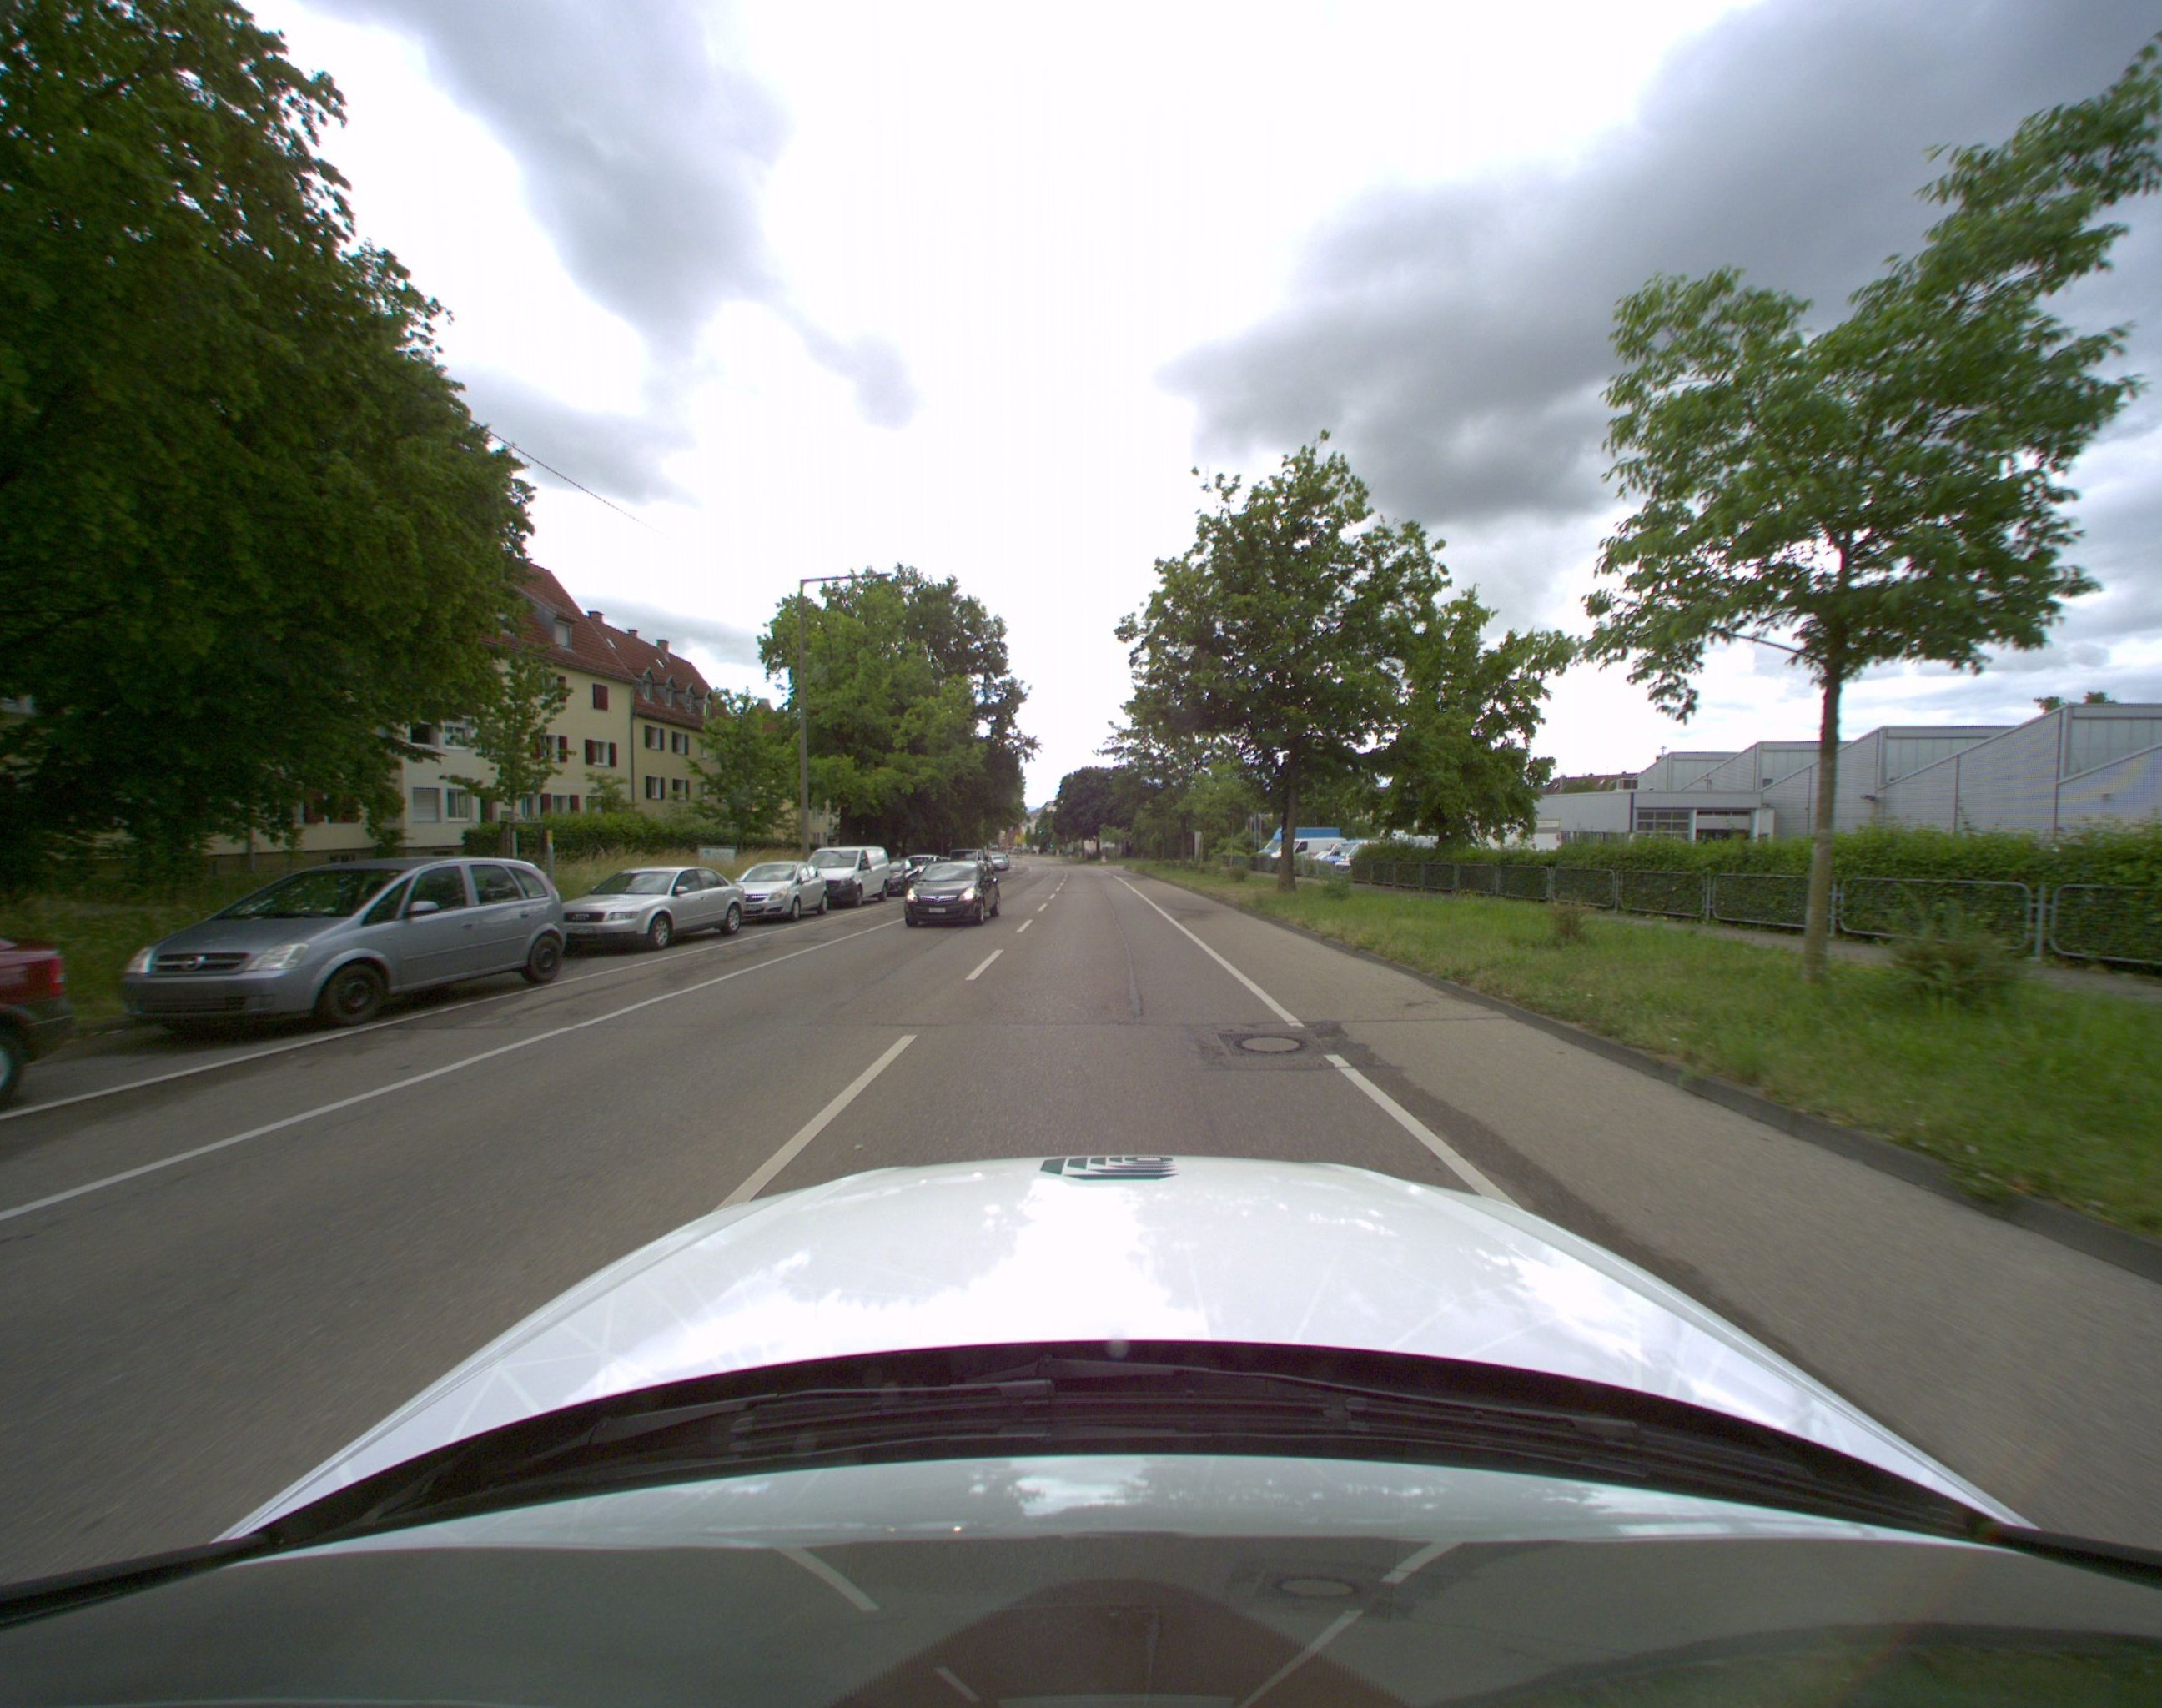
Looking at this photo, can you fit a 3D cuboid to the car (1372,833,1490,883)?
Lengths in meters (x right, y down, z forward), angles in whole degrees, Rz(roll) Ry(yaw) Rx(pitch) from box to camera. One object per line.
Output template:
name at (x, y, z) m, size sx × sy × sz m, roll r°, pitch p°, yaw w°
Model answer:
car at (16.211, 0.194, 37.679) m, size 5.269 × 2.188 × 2.055 m, roll 0°, pitch 0°, yaw -25°

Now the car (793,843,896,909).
car at (-7.583, 0.633, 26.661) m, size 1.761 × 1.931 × 5.157 m, roll 0°, pitch 0°, yaw 1°

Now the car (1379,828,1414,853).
car at (36.388, -1.614, 93.844) m, size 2.233 × 2.676 × 5.485 m, roll 0°, pitch 3°, yaw 39°

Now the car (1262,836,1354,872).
car at (15.795, 0.009, 56.641) m, size 6.037 × 2.367 × 2.344 m, roll 0°, pitch 0°, yaw -23°

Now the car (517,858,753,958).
car at (-7.974, 0.874, 15.127) m, size 1.761 × 1.495 × 4.360 m, roll -2°, pitch 0°, yaw 3°

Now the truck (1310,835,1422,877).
truck at (15.869, 0.096, 45.223) m, size 6.268 × 2.212 × 2.227 m, roll 0°, pitch 0°, yaw -28°

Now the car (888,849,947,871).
car at (-13.230, 0.471, 66.239) m, size 4.425 × 1.450 × 1.866 m, roll 4°, pitch -1°, yaw -5°

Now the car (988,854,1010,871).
car at (-7.981, 0.848, 79.456) m, size 1.762 × 1.573 × 4.757 m, roll -1°, pitch 0°, yaw -1°

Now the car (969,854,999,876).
car at (-7.403, 0.820, 62.404) m, size 1.761 × 1.633 × 4.157 m, roll -1°, pitch 0°, yaw 0°

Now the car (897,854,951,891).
car at (-7.209, 0.817, 37.811) m, size 1.668 × 1.564 × 4.280 m, roll -1°, pitch 0°, yaw 0°

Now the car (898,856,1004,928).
car at (-2.904, 0.800, 19.030) m, size 1.631 × 1.467 × 4.002 m, roll -2°, pitch 0°, yaw 2°

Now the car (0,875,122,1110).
car at (-7.741, 0.898, 3.667) m, size 1.760 × 1.447 × 4.154 m, roll -1°, pitch 0°, yaw 4°

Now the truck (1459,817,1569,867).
truck at (31.847, -0.814, 60.536) m, size 2.846 × 3.459 × 9.532 m, roll 0°, pitch 0°, yaw -2°

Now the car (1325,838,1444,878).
car at (15.513, 0.200, 41.605) m, size 5.830 × 1.956 × 2.057 m, roll 0°, pitch 0°, yaw -22°

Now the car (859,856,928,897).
car at (-7.514, 0.869, 33.021) m, size 1.667 × 1.488 × 4.047 m, roll -2°, pitch 0°, yaw 2°

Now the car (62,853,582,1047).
car at (-7.662, 0.803, 8.935) m, size 1.762 × 1.592 × 4.135 m, roll -1°, pitch 0°, yaw 1°

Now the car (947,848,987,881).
car at (-7.289, 0.650, 52.649) m, size 1.860 × 1.963 × 5.125 m, roll -1°, pitch 0°, yaw -1°

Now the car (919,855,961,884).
car at (-7.629, 0.803, 44.467) m, size 1.657 × 1.479 × 4.087 m, roll -1°, pitch 0°, yaw -2°

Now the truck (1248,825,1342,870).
truck at (16.975, -0.545, 64.583) m, size 7.197 × 3.477 × 2.598 m, roll -1°, pitch 0°, yaw -24°

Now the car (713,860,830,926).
car at (-7.723, 0.910, 20.694) m, size 1.631 × 1.433 × 3.946 m, roll 0°, pitch 0°, yaw -3°
